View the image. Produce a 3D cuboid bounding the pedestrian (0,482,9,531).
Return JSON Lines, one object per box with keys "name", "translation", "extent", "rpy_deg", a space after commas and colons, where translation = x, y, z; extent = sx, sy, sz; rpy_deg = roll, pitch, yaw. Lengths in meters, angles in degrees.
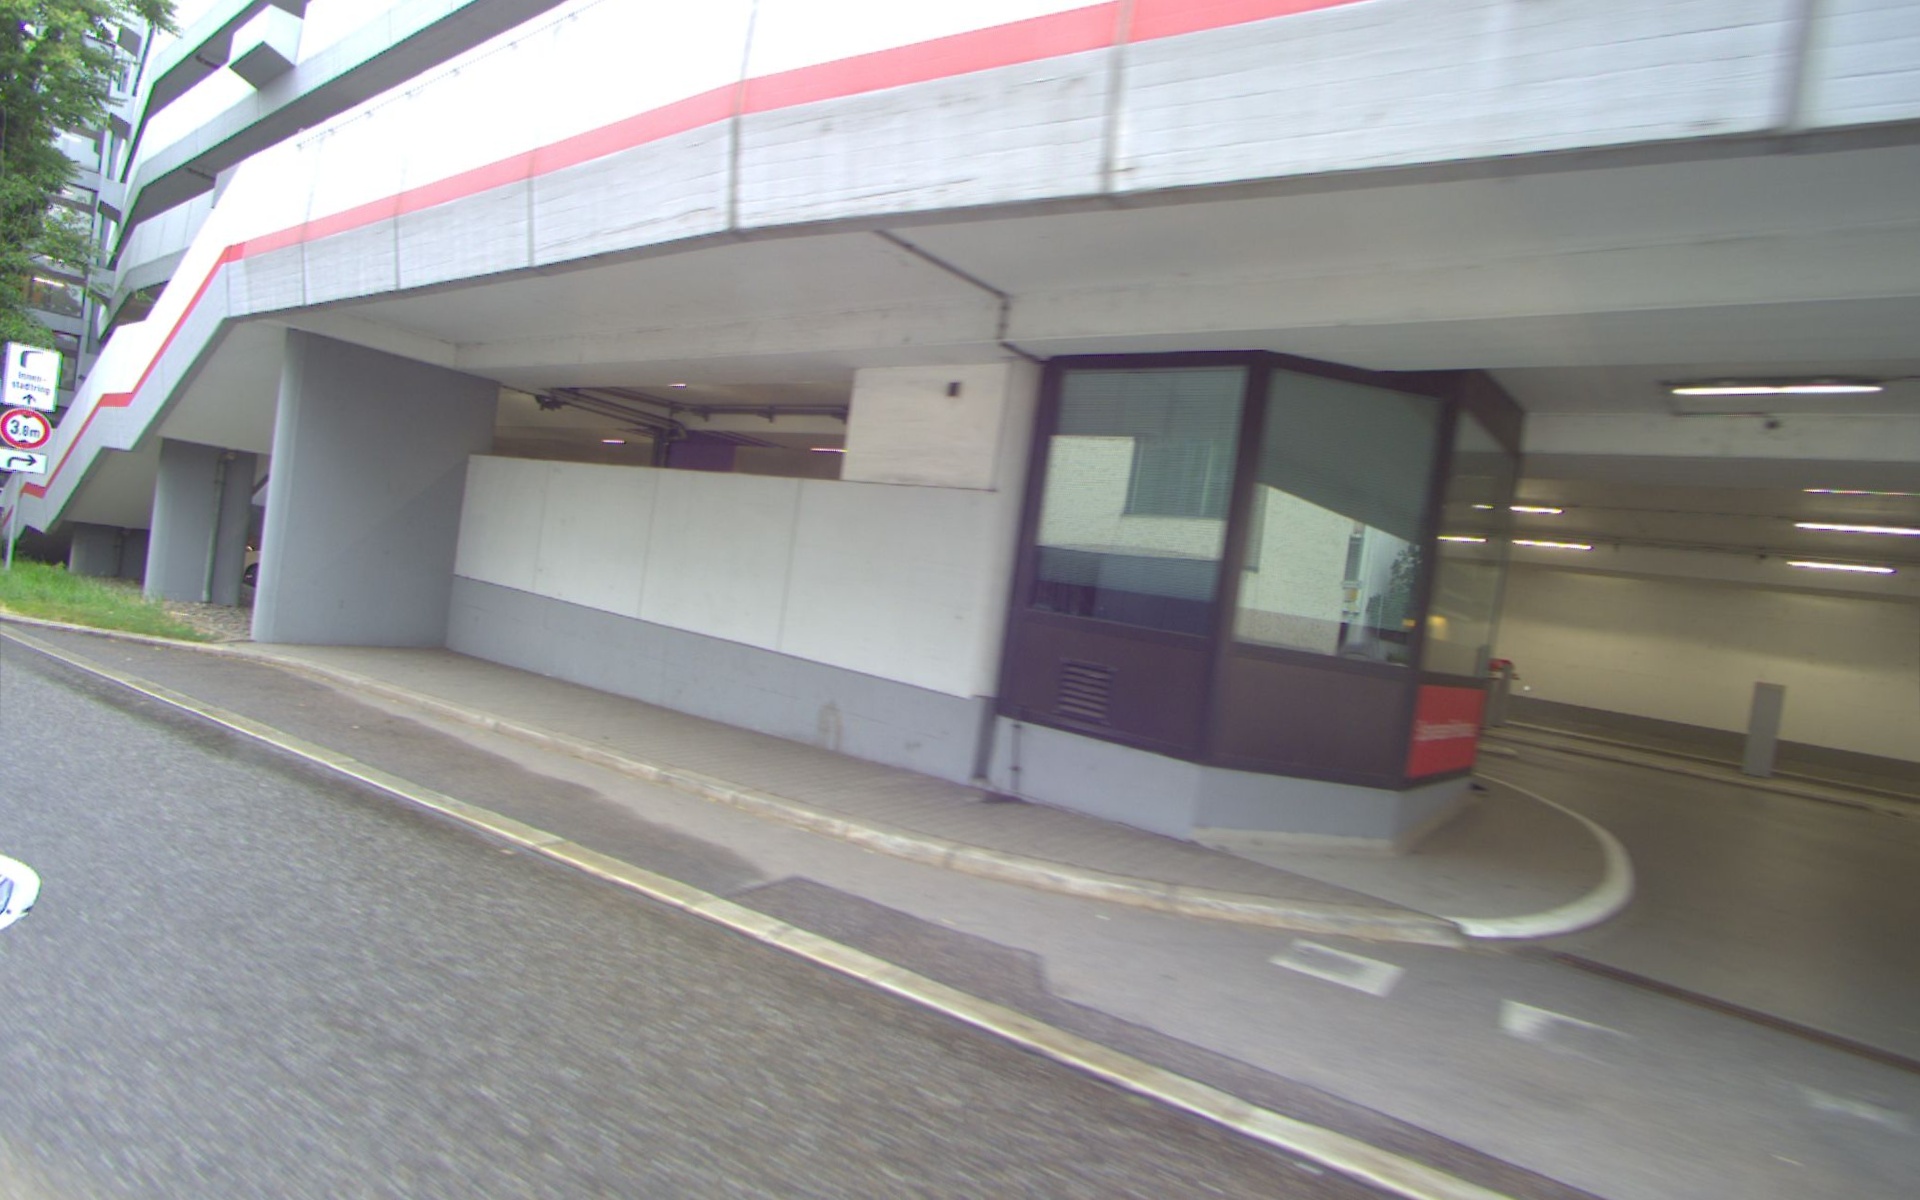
{"name": "pedestrian", "translation": [-30.541, -2.996, 31.721], "extent": [0.496, 1.518, 0.582], "rpy_deg": [6, -2, 38]}
